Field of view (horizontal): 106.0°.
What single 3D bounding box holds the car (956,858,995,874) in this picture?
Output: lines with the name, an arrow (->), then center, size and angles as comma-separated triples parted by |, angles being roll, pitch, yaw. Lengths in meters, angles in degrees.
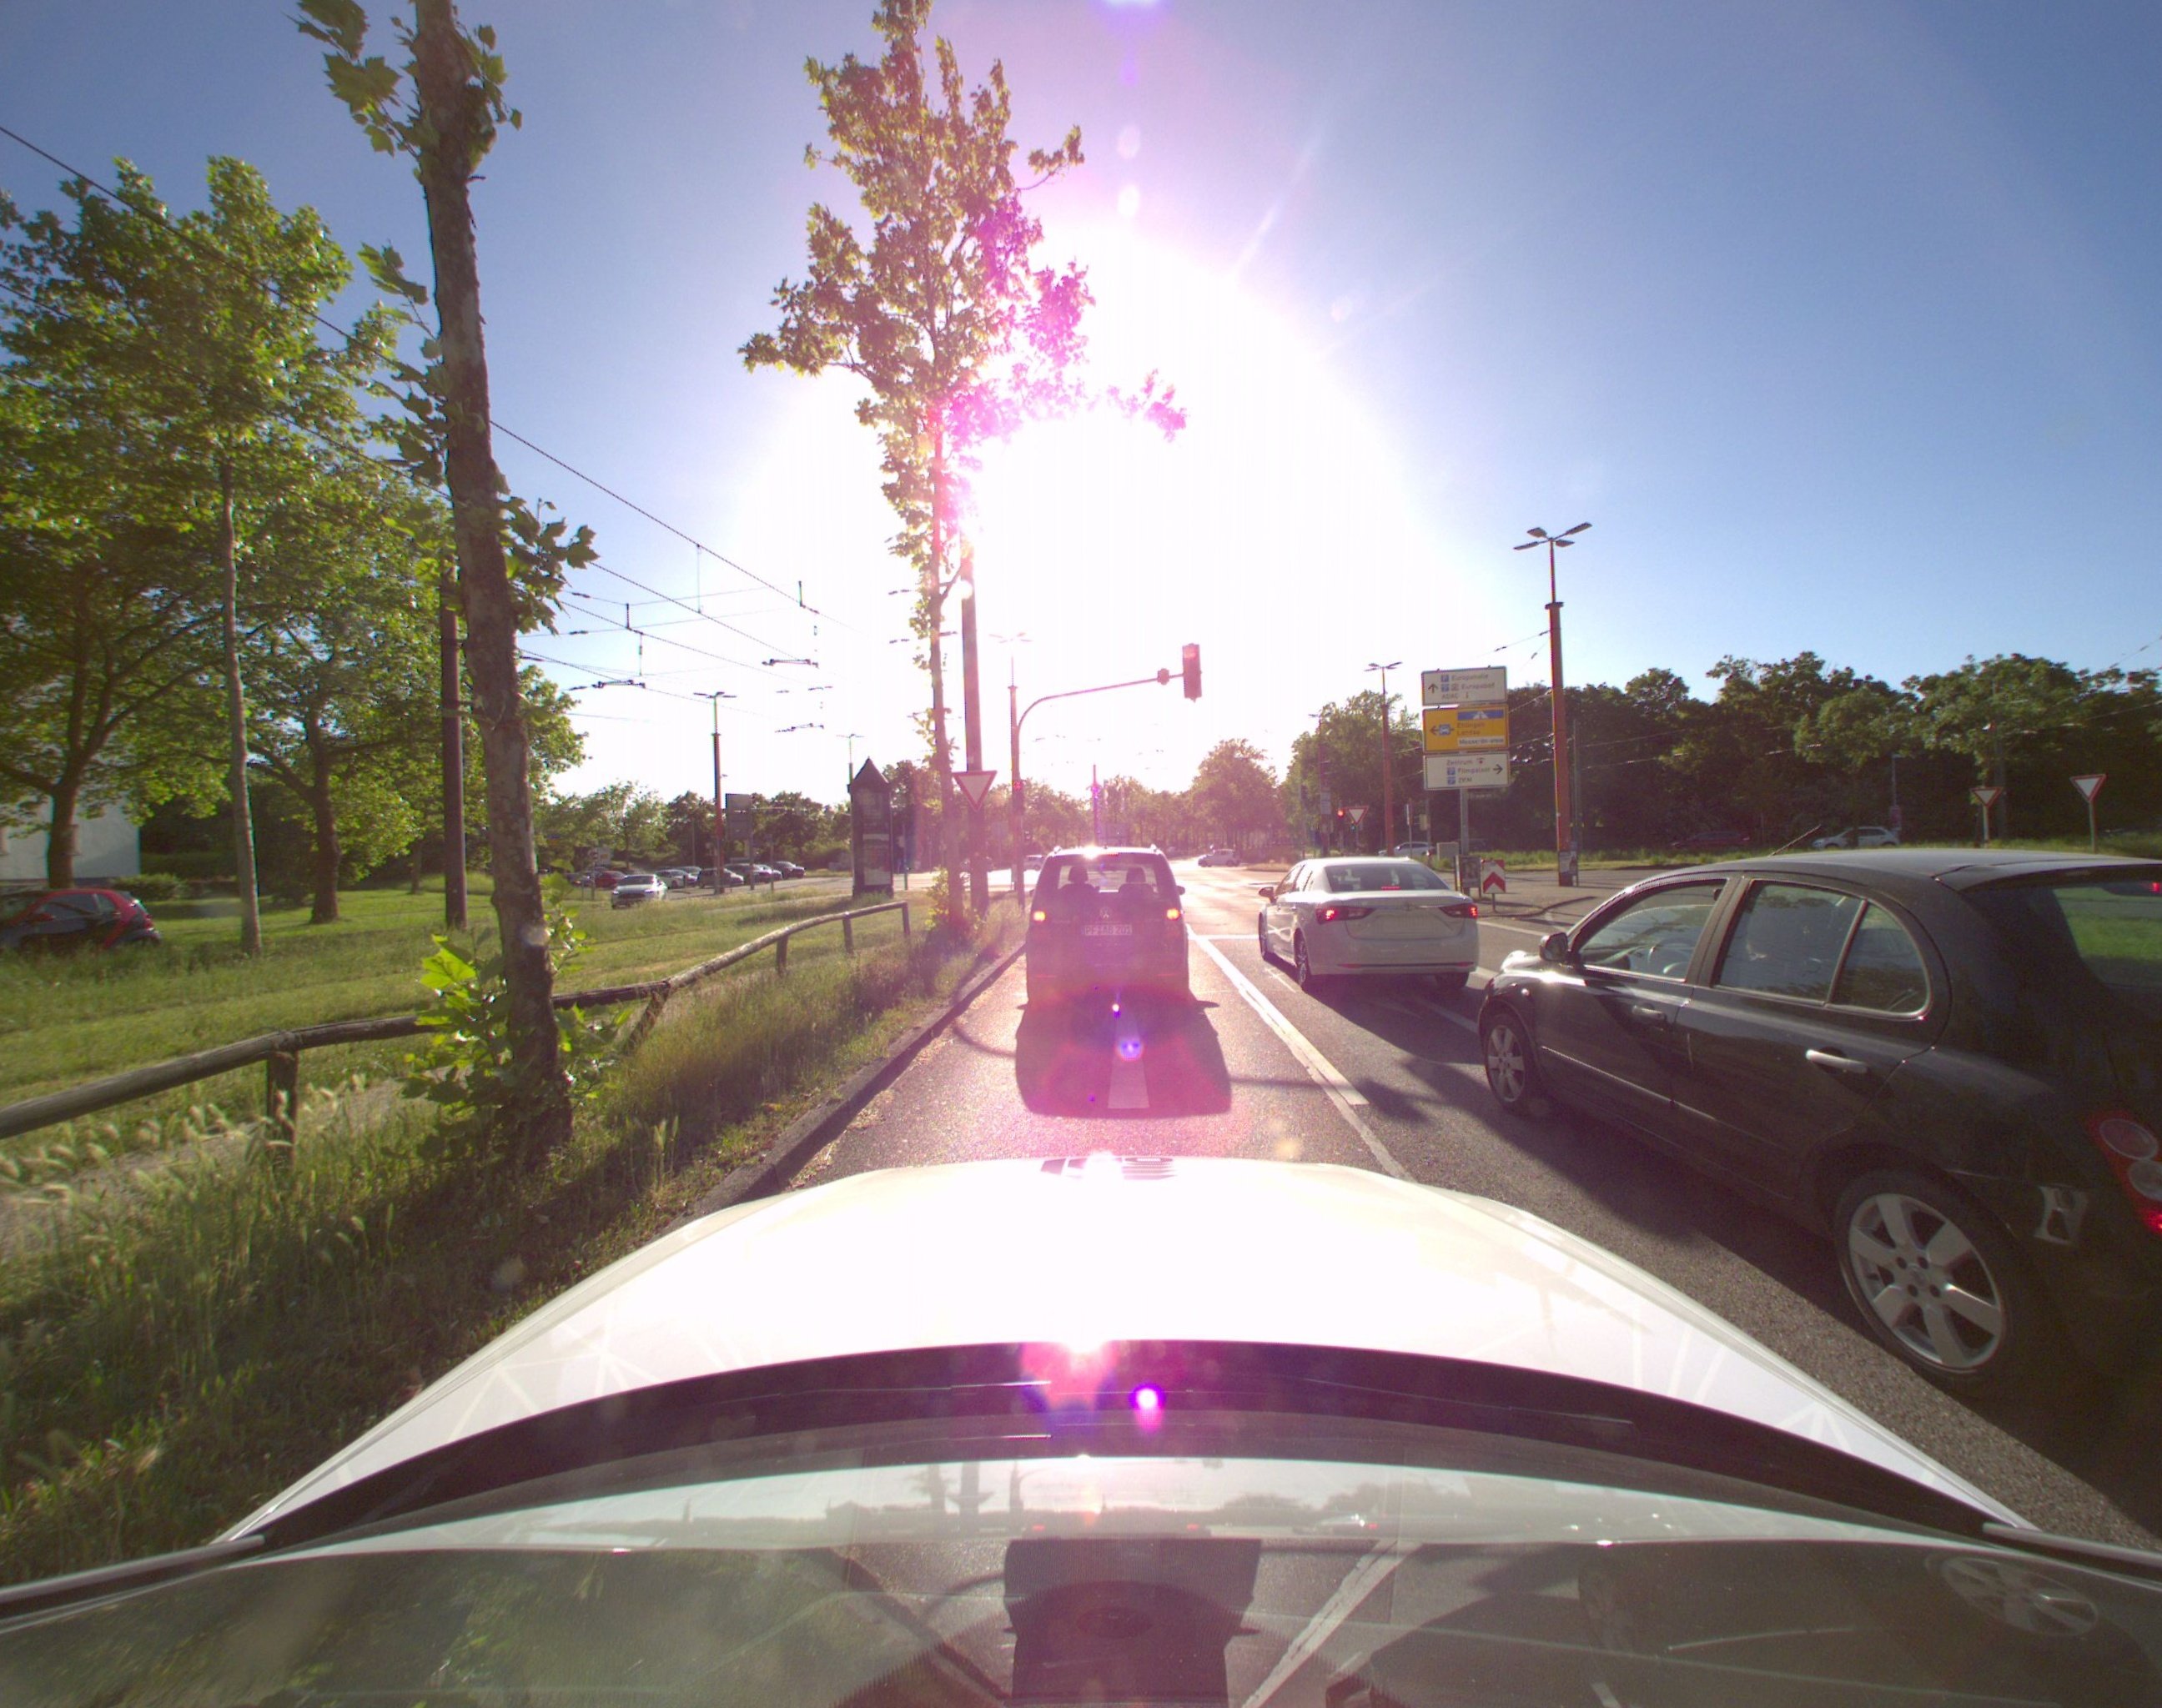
car -> -9.822, 1.109, 75.788 | 3.363, 1.457, 1.473 | -2, 0, 25

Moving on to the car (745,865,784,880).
car -> -26.996, 1.609, 69.531 | 3.129, 1.198, 1.539 | -2, 0, 33

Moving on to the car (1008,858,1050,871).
car -> -5.038, 0.993, 78.880 | 3.792, 1.264, 1.613 | 0, -1, 28

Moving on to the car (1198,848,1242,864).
car -> 11.844, 0.203, 69.508 | 3.404, 1.368, 1.298 | 0, -1, 28

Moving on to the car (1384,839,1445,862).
car -> 25.414, -0.262, 62.013 | 4.190, 1.681, 1.713 | -2, 0, 25

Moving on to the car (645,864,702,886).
car -> -32.371, 1.697, 64.679 | 4.135, 1.612, 1.880 | -2, 0, 27

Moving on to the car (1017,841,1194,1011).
car -> 0.297, 0.703, 9.944 | 1.694, 1.621, 3.898 | -2, 0, 1

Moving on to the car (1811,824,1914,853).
car -> 45.118, -0.878, 47.114 | 3.961, 1.527, 1.718 | -2, 0, 30

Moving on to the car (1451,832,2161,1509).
car -> 3.213, 0.693, 3.594 | 1.647, 1.500, 3.617 | -1, 0, 2

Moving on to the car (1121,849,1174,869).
car -> 5.604, 0.431, 68.964 | 3.987, 1.596, 2.012 | -2, 0, 25

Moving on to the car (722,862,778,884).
car -> -26.581, 1.543, 65.377 | 3.950, 1.644, 2.012 | -2, 0, 26

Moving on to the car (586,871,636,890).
car -> -39.440, 2.225, 68.271 | 3.949, 1.513, 1.743 | -2, 0, 27

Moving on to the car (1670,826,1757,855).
car -> 41.197, -0.846, 53.164 | 4.249, 1.705, 1.858 | -2, 0, 31

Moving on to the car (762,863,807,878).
car -> -26.529, 1.480, 72.856 | 3.948, 1.330, 1.709 | -2, 0, 33

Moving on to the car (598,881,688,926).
car -> -20.017, 2.224, 37.502 | 1.992, 1.731, 4.833 | -1, 0, -7

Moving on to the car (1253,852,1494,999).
car -> 3.327, 0.711, 10.153 | 1.713, 1.438, 4.202 | -1, 0, 3

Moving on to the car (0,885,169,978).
car -> -18.151, 1.309, 13.942 | 1.791, 1.390, 2.850 | -2, 0, 2

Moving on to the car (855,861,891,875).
car -> -22.724, 1.535, 88.959 | 3.700, 1.473, 1.610 | -2, 0, 28

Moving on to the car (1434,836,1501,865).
car -> 27.375, -0.248, 57.721 | 4.154, 1.883, 1.777 | -2, 0, 25
